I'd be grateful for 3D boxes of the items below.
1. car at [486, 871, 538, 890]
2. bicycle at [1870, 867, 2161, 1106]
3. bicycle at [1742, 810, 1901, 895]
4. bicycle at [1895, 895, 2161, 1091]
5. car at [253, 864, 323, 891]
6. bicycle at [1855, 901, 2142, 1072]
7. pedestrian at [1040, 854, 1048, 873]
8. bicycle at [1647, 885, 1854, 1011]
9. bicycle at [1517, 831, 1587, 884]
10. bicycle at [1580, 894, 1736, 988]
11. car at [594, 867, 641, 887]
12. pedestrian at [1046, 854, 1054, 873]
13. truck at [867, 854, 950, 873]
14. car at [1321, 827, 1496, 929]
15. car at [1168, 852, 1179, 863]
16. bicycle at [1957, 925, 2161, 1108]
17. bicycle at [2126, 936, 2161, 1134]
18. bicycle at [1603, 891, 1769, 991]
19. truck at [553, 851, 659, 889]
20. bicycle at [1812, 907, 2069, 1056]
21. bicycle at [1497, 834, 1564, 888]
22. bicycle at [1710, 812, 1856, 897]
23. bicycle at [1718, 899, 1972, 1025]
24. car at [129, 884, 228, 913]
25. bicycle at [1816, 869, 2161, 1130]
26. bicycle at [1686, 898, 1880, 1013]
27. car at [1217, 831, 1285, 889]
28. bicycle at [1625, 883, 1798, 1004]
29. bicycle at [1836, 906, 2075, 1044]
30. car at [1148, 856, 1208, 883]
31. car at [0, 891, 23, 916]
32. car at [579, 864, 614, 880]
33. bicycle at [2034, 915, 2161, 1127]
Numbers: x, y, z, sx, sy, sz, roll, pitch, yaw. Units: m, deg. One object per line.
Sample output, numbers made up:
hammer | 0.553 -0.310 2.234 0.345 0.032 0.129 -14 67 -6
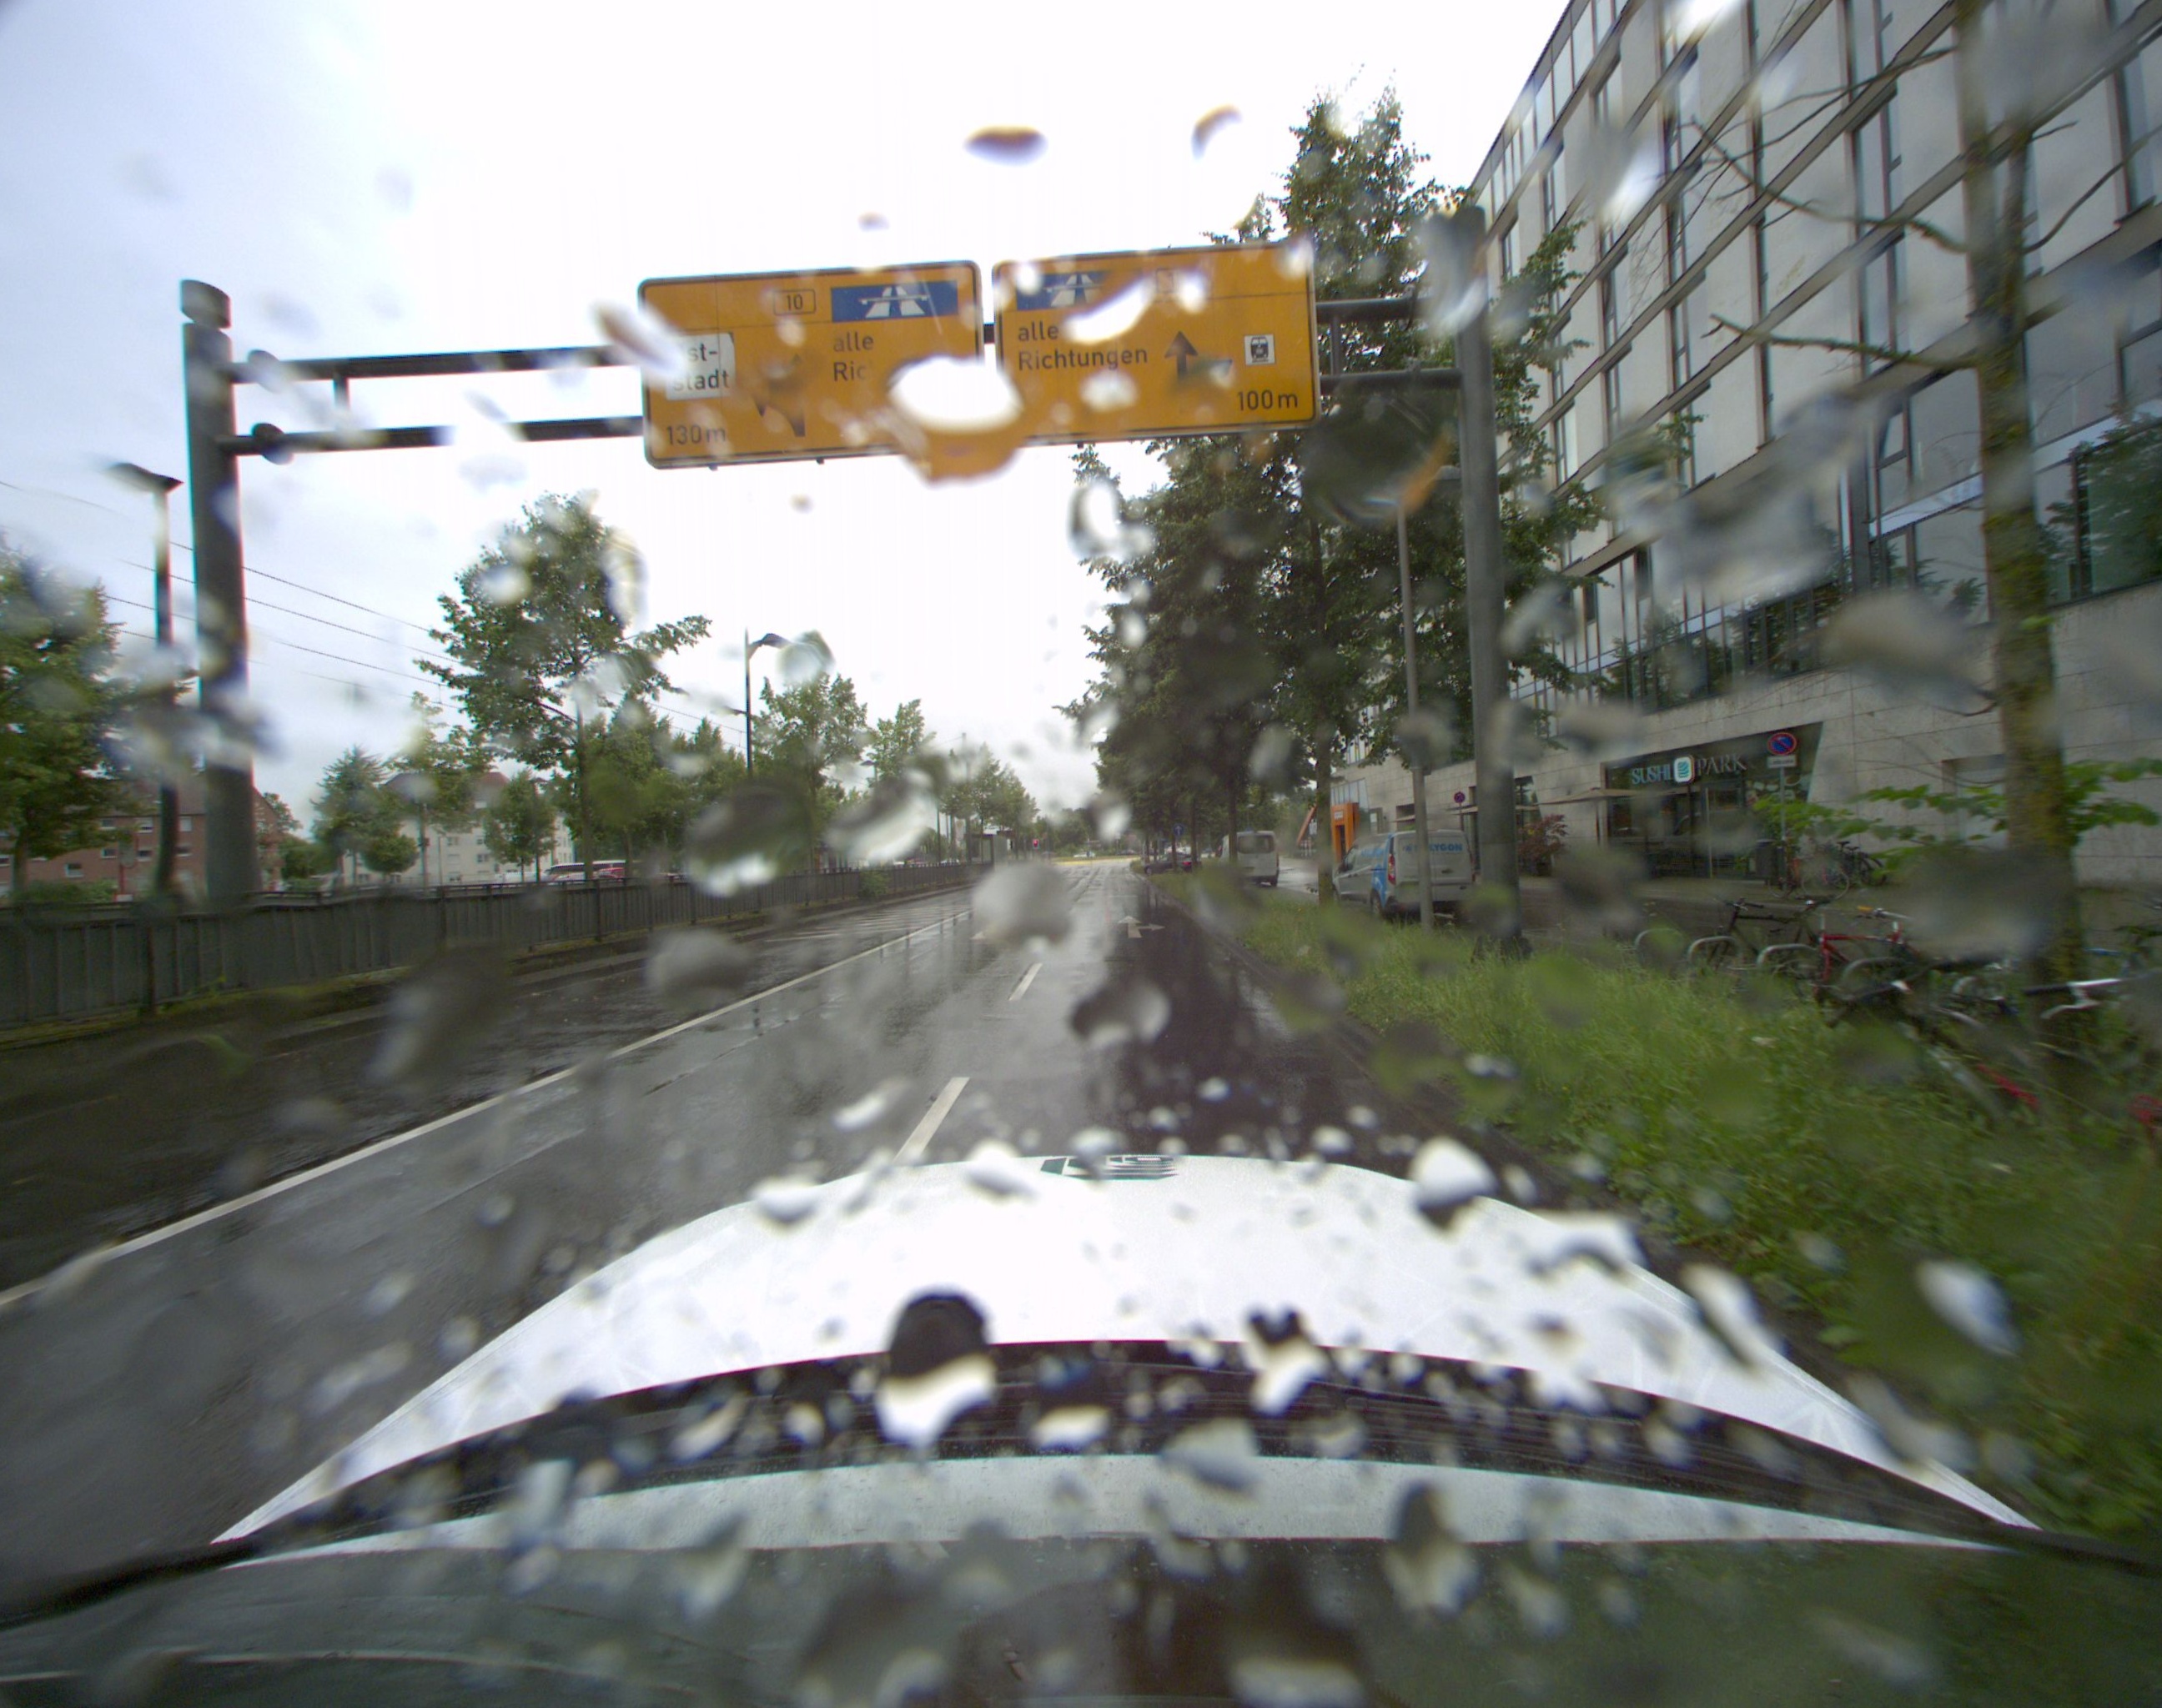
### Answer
car | -61.916 2.865 88.713 1.978 2.014 4.234 -2 -1 17
bicycle | 4.071 0.490 3.415 0.273 0.849 1.293 -2 -1 2
bicycle | 16.397 -0.077 18.195 0.769 1.722 3.122 -2 2 2
bicycle | 5.292 0.749 4.489 1.284 0.989 0.275 -2 -1 1
car | -69.567 2.021 71.537 1.986 2.013 4.002 -2 2 2
bicycle | 5.375 0.767 4.795 1.321 0.910 0.275 -3 -1 1
pedestrian | -3.973 1.029 86.997 0.694 2.013 0.656 -2 1 4
bicycle | 5.663 0.789 6.914 1.455 0.980 0.311 -2 -1 1
bicycle | 16.299 0.072 28.294 0.642 1.722 3.122 -2 2 2
bicycle | 5.620 0.843 7.954 1.284 0.849 0.275 -2 -1 1
car | -48.452 2.376 85.244 1.978 2.014 4.018 -2 -1 17
pedestrian | -3.356 1.052 88.395 0.695 2.013 0.656 -2 1 2
truck | -31.204 1.676 148.253 14.992 3.147 3.479 -1 -1 -43
car | 6.674 0.450 17.220 1.899 1.791 4.690 -2 0 2
car | 15.453 0.588 136.158 1.615 1.699 3.462 -2 2 5
bicycle | 5.310 0.814 4.181 1.284 0.849 0.275 -2 -1 1
bicycle | 5.340 0.769 3.499 1.284 0.849 0.275 -3 -1 1
bicycle | 5.620 0.801 7.591 1.284 0.849 0.311 -2 -1 1
truck | -67.072 2.142 115.485 12.513 4.592 3.375 -3 2 -25
bicycle | 5.440 0.796 5.177 1.284 0.849 0.275 -3 -1 1
bicycle | 15.556 0.194 28.309 0.642 1.722 3.122 -2 2 2
bicycle | 15.619 -0.047 18.285 0.642 1.722 3.122 -2 2 2
bicycle | 5.753 0.806 6.159 1.589 0.849 0.311 -2 -1 1
car | -77.742 3.789 70.293 2.073 2.013 5.387 -2 2 9
bicycle | 3.769 0.501 3.383 0.273 0.849 1.293 -2 -1 2
bicycle | 5.615 0.805 6.535 1.284 0.849 0.275 -2 -1 1
car | 7.405 0.261 35.887 2.113 2.274 4.566 -2 0 2
bicycle | 5.614 0.790 7.272 1.284 0.995 0.275 -3 -1 1
bicycle | 5.915 0.809 5.527 1.284 0.849 0.275 -2 -1 1
car | 6.227 0.988 52.851 1.827 1.545 3.961 -3 2 -30
car | -73.807 3.457 53.951 1.986 1.617 4.002 -2 2 2
car | -61.353 2.273 103.174 3.546 1.738 1.694 -3 2 -22
bicycle | 5.315 0.754 3.831 1.284 0.918 0.275 -3 -1 1
